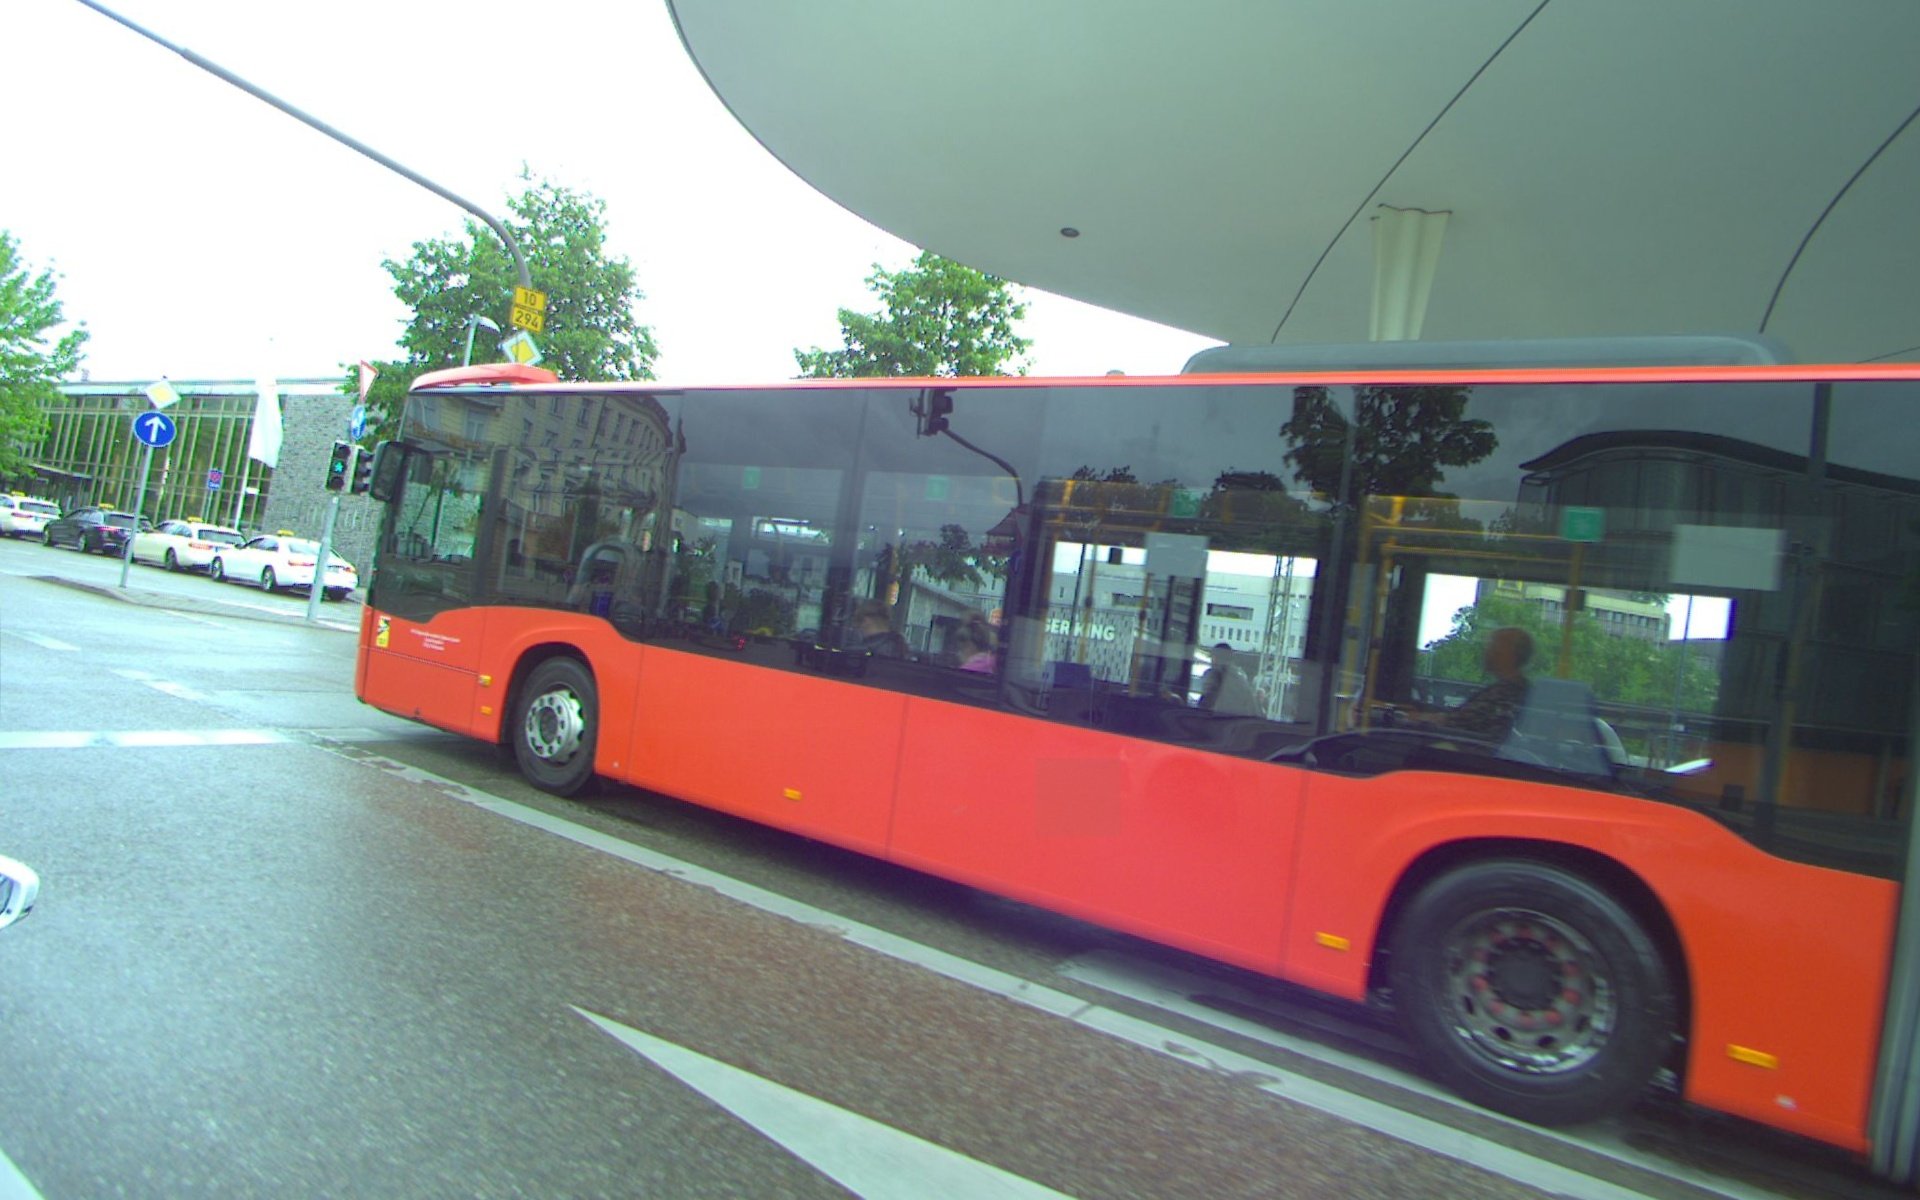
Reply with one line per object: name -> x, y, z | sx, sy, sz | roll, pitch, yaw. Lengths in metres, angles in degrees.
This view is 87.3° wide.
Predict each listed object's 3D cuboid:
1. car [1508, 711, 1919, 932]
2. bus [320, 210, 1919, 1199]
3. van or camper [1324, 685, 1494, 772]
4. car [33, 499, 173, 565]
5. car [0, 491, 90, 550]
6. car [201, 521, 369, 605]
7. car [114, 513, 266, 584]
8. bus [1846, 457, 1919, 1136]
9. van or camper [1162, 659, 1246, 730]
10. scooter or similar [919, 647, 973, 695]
car -> 9.081, 2.533, 11.888 | 4.359, 1.666, 1.806 | 7, -4, 32
bus -> 0.022, 0.046, 6.603 | 10.025, 3.210, 2.749 | 7, -2, 32
van or camper -> 18.202, 5.173, 40.933 | 5.873, 2.491, 2.108 | 7, -2, 32
car -> -27.976, -2.228, 32.811 | 4.661, 1.542, 1.918 | 7, -2, 30
car -> -33.566, -2.958, 35.817 | 4.736, 1.618, 2.000 | 7, -2, 25
car -> -17.989, -1.004, 26.753 | 4.538, 1.608, 1.778 | 7, -2, 30
car -> -22.714, -1.521, 29.645 | 4.588, 1.468, 1.851 | 7, -2, 30
bus -> 7.468, 1.015, 1.937 | 7.985, 3.210, 2.749 | 7, -2, 32
van or camper -> 10.376, 3.993, 42.341 | 2.072, 2.491, 5.974 | 7, -2, 25
scooter or similar -> -0.443, 2.192, 31.092 | 1.503, 1.285, 0.467 | 8, -1, -4
